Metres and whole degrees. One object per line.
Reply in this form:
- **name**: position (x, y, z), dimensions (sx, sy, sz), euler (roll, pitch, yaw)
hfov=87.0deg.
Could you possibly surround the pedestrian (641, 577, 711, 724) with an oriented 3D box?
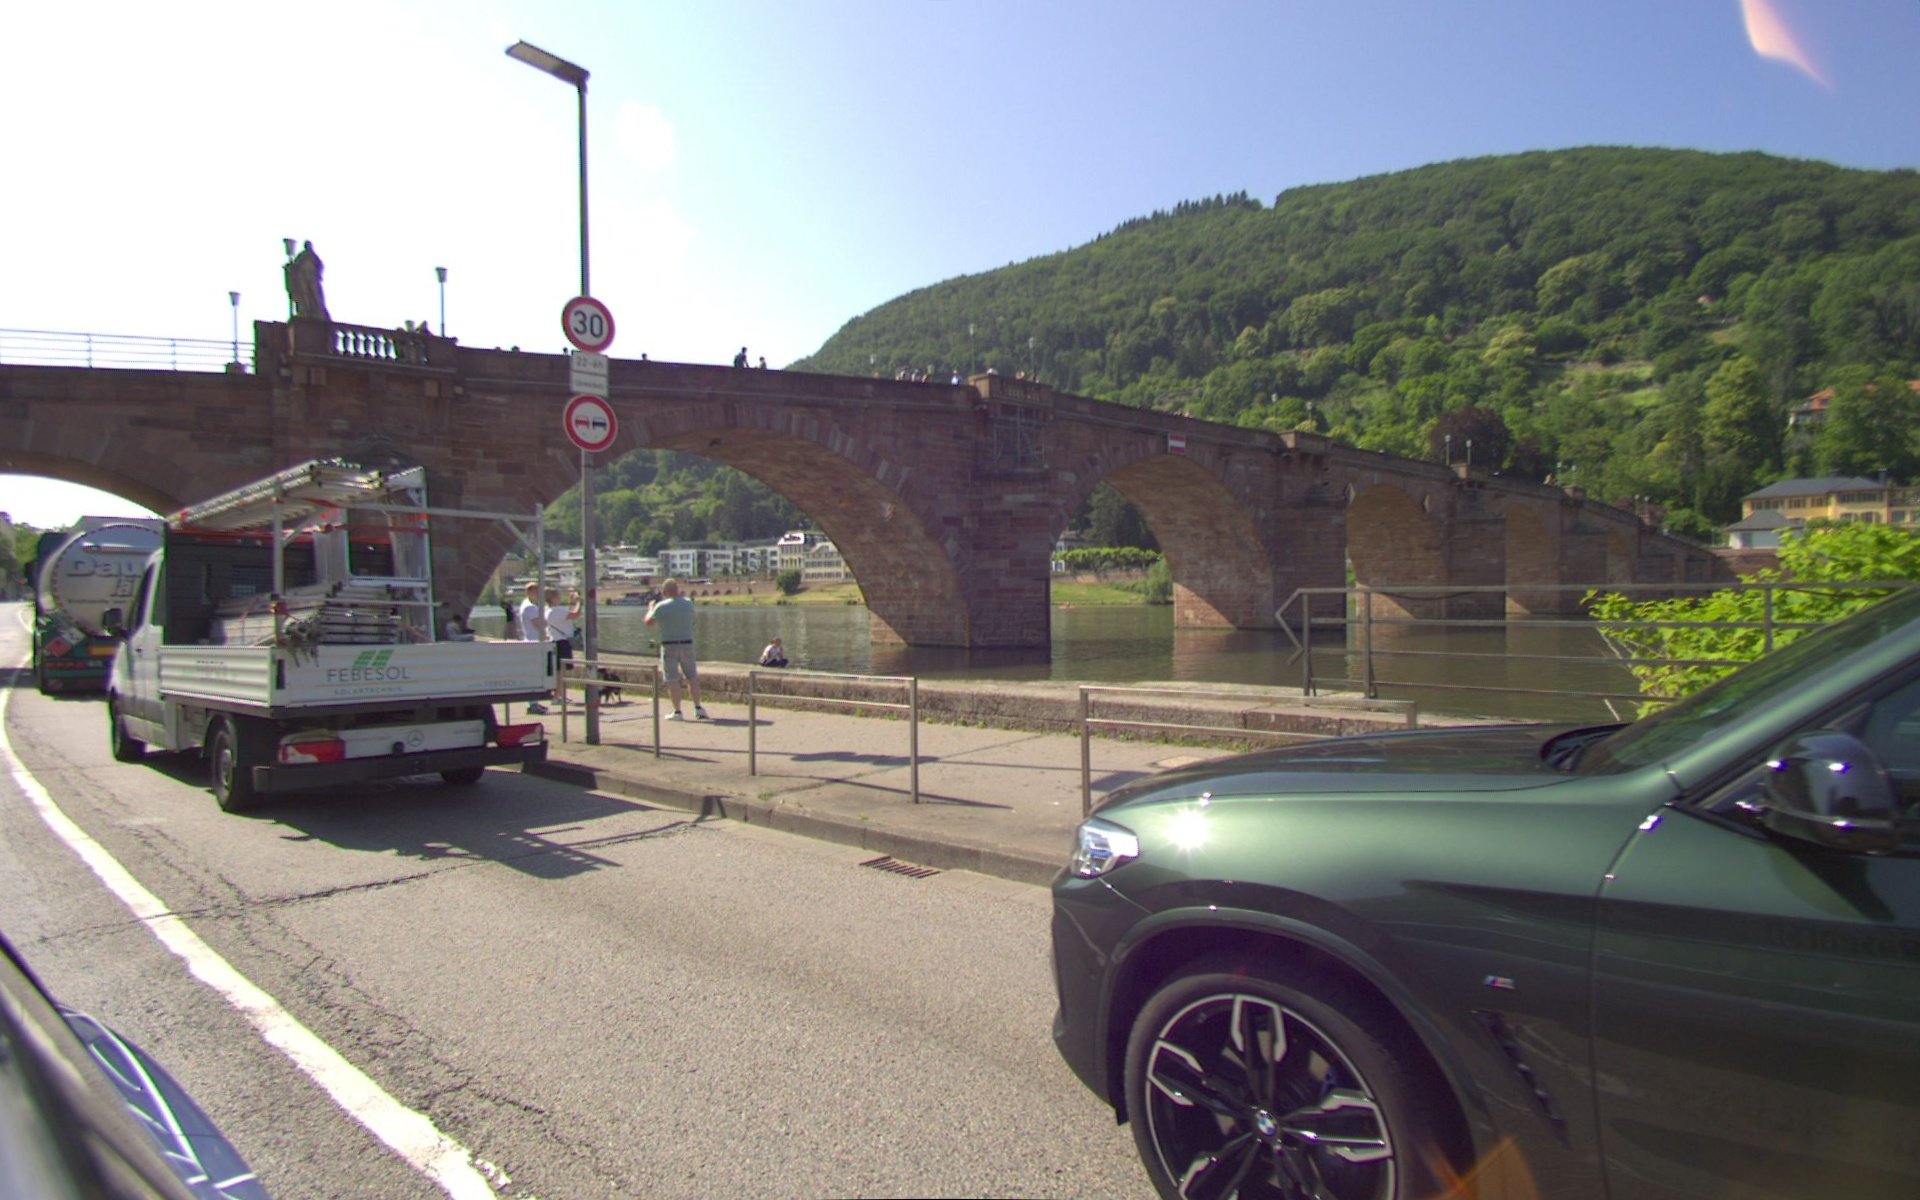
- **pedestrian**: position (-3.466, 0.604, 12.395), dimensions (0.538, 1.735, 0.755), euler (-2, 0, 8)

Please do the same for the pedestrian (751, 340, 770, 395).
- **pedestrian**: position (-7.958, -9.280, 40.375), dimensions (0.639, 2.029, 0.461), euler (0, 0, 41)

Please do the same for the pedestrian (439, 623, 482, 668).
- **pedestrian**: position (-14.358, 1.298, 29.094), dimensions (1.026, 1.239, 0.779), euler (-2, -1, 44)

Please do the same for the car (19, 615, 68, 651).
- **car**: position (-50.462, 1.784, 55.761), dimensions (1.851, 1.841, 4.550), euler (1, -1, -41)

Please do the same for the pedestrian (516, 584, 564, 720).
- **pedestrian**: position (-5.818, 0.702, 14.033), dimensions (0.513, 1.806, 0.824), euler (-2, 0, -18)

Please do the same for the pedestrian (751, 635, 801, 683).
- **pedestrian**: position (-4.691, 1.488, 25.768), dimensions (0.954, 1.139, 0.832), euler (0, -1, -40)

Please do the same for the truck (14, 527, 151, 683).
- **truck**: position (-24.066, 0.212, 27.660), dimensions (2.494, 3.777, 6.251), euler (2, -3, -43)

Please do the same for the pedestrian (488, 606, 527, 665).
- **pedestrian**: position (-13.375, 1.042, 29.890), dimensions (0.774, 1.663, 0.779), euler (-2, -1, 44)

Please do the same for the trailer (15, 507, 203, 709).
- **trailer**: position (-20.040, 0.259, 23.469), dimensions (2.494, 3.672, 11.539), euler (1, -2, -44)

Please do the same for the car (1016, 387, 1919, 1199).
- **car**: position (2.425, 0.536, 1.752), dimensions (4.451, 1.694, 1.844), euler (-2, -2, 41)

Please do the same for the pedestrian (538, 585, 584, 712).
- **pedestrian**: position (-5.903, 0.695, 14.993), dimensions (0.535, 1.806, 0.824), euler (-2, 0, -18)

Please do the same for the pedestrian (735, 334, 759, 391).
- **pedestrian**: position (-8.393, -9.341, 39.922), dimensions (0.625, 2.029, 0.686), euler (0, 0, 41)

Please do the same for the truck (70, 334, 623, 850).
- **truck**: position (-6.389, 0.075, 9.840), dimensions (7.607, 3.286, 2.351), euler (-2, -4, 41)

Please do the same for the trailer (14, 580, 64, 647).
- **trailer**: position (-47.495, 0.677, 52.223), dimensions (1.720, 3.345, 3.389), euler (2, -1, -40)

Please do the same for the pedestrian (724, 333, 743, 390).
- **pedestrian**: position (-8.828, -9.282, 39.447), dimensions (0.639, 2.029, 0.461), euler (0, 0, 41)
